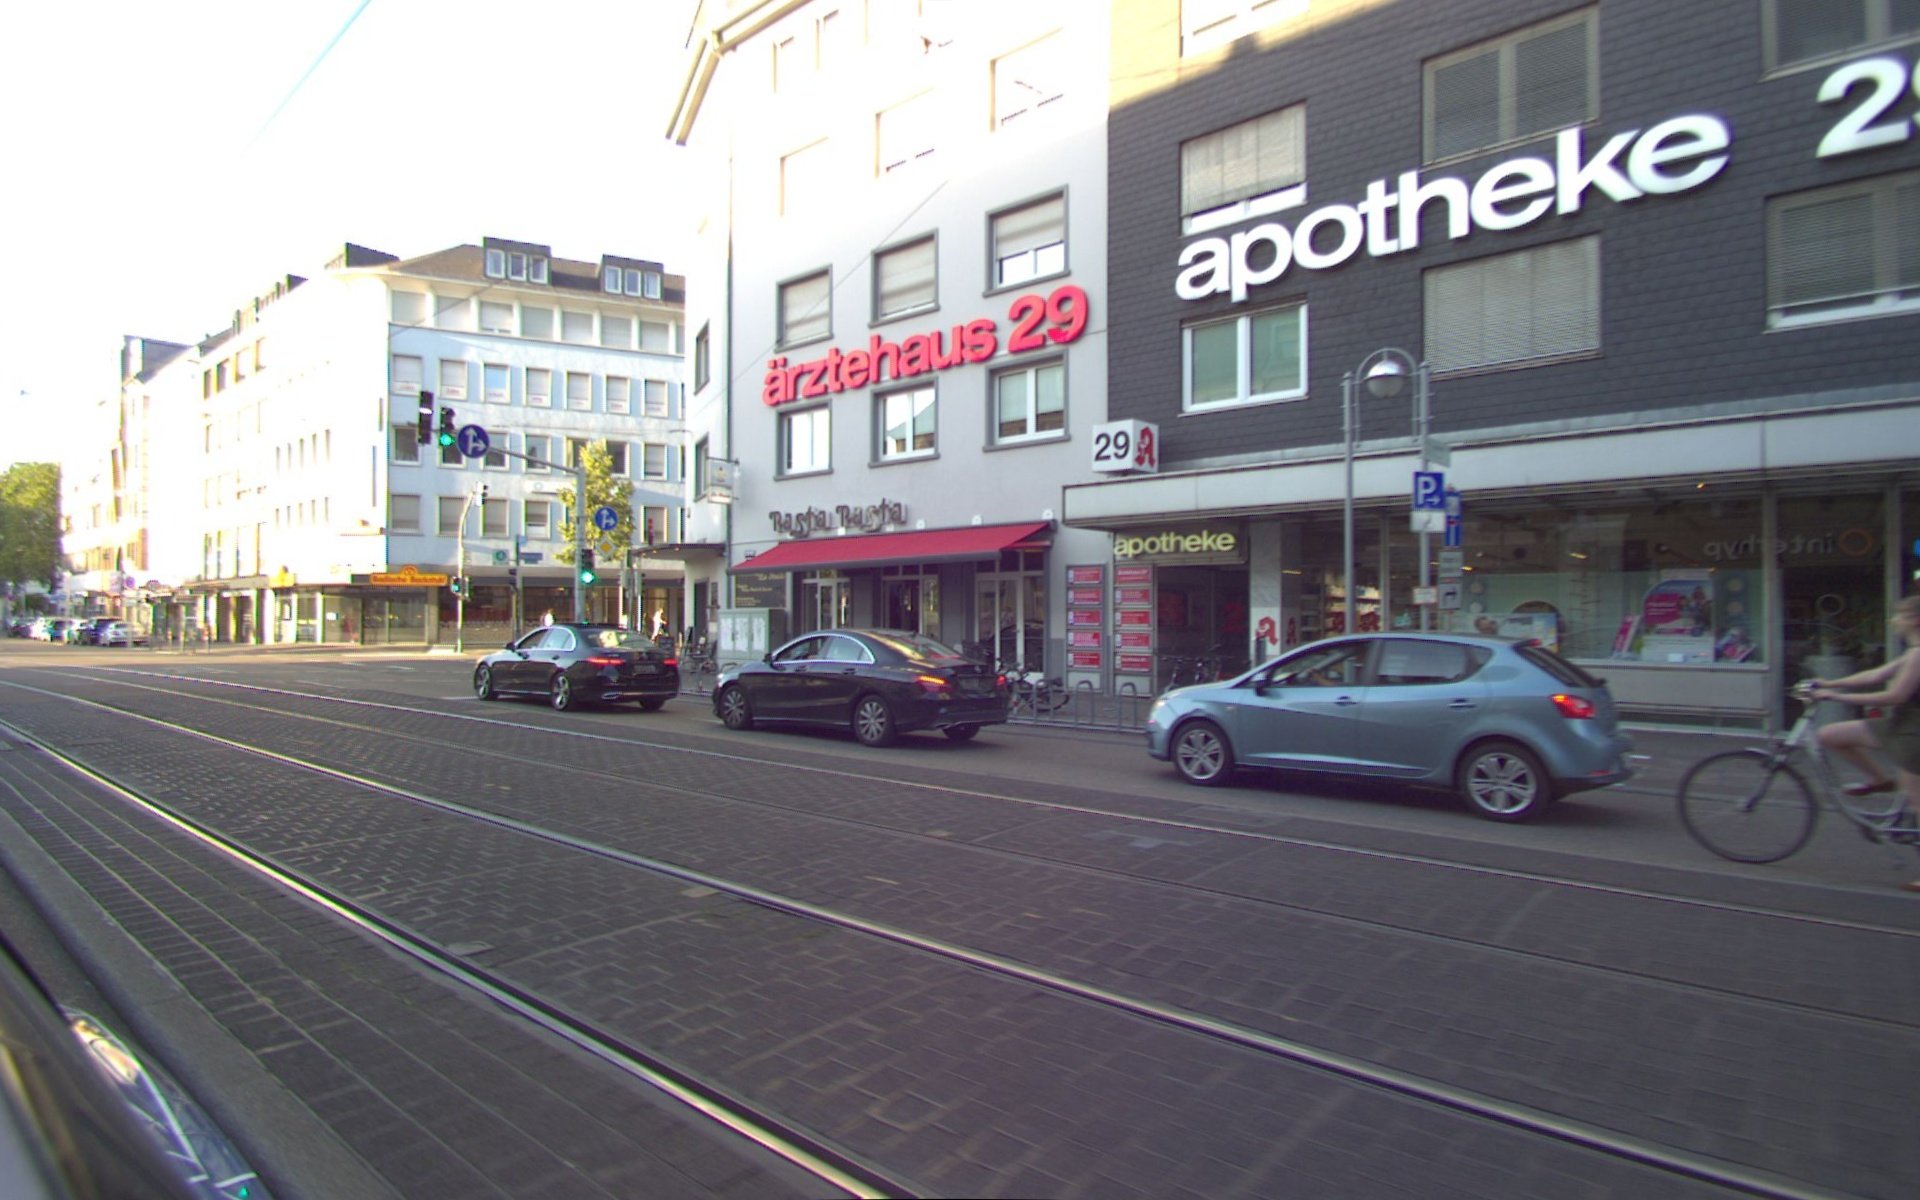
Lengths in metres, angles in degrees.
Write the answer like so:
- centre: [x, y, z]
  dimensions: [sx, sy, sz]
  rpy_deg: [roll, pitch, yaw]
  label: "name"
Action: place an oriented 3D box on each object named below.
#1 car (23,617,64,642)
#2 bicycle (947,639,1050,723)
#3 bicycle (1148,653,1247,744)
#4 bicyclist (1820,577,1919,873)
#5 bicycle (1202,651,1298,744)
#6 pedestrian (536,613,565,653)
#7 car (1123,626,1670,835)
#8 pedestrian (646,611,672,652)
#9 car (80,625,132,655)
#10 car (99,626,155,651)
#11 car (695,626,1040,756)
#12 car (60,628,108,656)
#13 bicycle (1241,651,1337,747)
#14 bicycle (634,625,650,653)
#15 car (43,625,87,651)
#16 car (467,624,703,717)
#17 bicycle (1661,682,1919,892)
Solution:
- centre: [-63.377, 2.018, 69.956]
  dimensions: [4.001, 1.647, 1.822]
  rpy_deg: [-1, -2, 44]
  label: "car"
- centre: [0.639, 1.250, 16.060]
  dimensions: [0.607, 1.143, 1.837]
  rpy_deg: [-1, 1, 41]
  label: "bicycle"
- centre: [3.226, 1.290, 13.630]
  dimensions: [0.492, 0.991, 1.837]
  rpy_deg: [-1, 1, 41]
  label: "bicycle"
- centre: [5.346, 0.667, 5.643]
  dimensions: [0.798, 1.577, 0.686]
  rpy_deg: [-1, -2, 39]
  label: "bicyclist"
- centre: [3.791, 1.224, 13.131]
  dimensions: [0.462, 0.991, 1.837]
  rpy_deg: [-1, 1, 41]
  label: "bicycle"
- centre: [-18.317, 1.475, 45.281]
  dimensions: [0.981, 1.739, 0.806]
  rpy_deg: [0, 0, 3]
  label: "pedestrian"
- centre: [3.632, 0.962, 8.849]
  dimensions: [4.059, 1.397, 1.740]
  rpy_deg: [-1, -4, 42]
  label: "car"
- centre: [-14.155, 1.495, 47.630]
  dimensions: [0.981, 1.901, 0.806]
  rpy_deg: [0, 0, 3]
  label: "pedestrian"
- centre: [-48.390, 2.221, 57.346]
  dimensions: [4.001, 1.647, 1.822]
  rpy_deg: [-1, -2, 44]
  label: "car"
- centre: [-44.766, 2.037, 54.359]
  dimensions: [4.001, 1.304, 1.822]
  rpy_deg: [-1, -2, 44]
  label: "car"
- centre: [-1.342, 1.080, 13.270]
  dimensions: [4.562, 1.397, 1.894]
  rpy_deg: [-1, -4, 42]
  label: "car"
- centre: [-53.383, 2.511, 61.639]
  dimensions: [4.001, 1.647, 1.822]
  rpy_deg: [-1, -2, 44]
  label: "car"
- centre: [4.182, 1.206, 12.795]
  dimensions: [0.462, 0.991, 1.837]
  rpy_deg: [-1, 1, 41]
  label: "bicycle"
- centre: [-14.231, 1.721, 45.221]
  dimensions: [0.462, 1.213, 1.925]
  rpy_deg: [1, -2, -24]
  label: "bicycle"
- centre: [-59.017, 2.489, 66.723]
  dimensions: [4.001, 1.647, 1.822]
  rpy_deg: [-1, -2, 44]
  label: "car"
- centre: [-6.588, 1.158, 17.537]
  dimensions: [4.562, 1.397, 1.894]
  rpy_deg: [-1, -4, 42]
  label: "car"
- centre: [5.259, 1.039, 5.714]
  dimensions: [2.080, 1.042, 0.686]
  rpy_deg: [-1, -2, 40]
  label: "bicycle"
